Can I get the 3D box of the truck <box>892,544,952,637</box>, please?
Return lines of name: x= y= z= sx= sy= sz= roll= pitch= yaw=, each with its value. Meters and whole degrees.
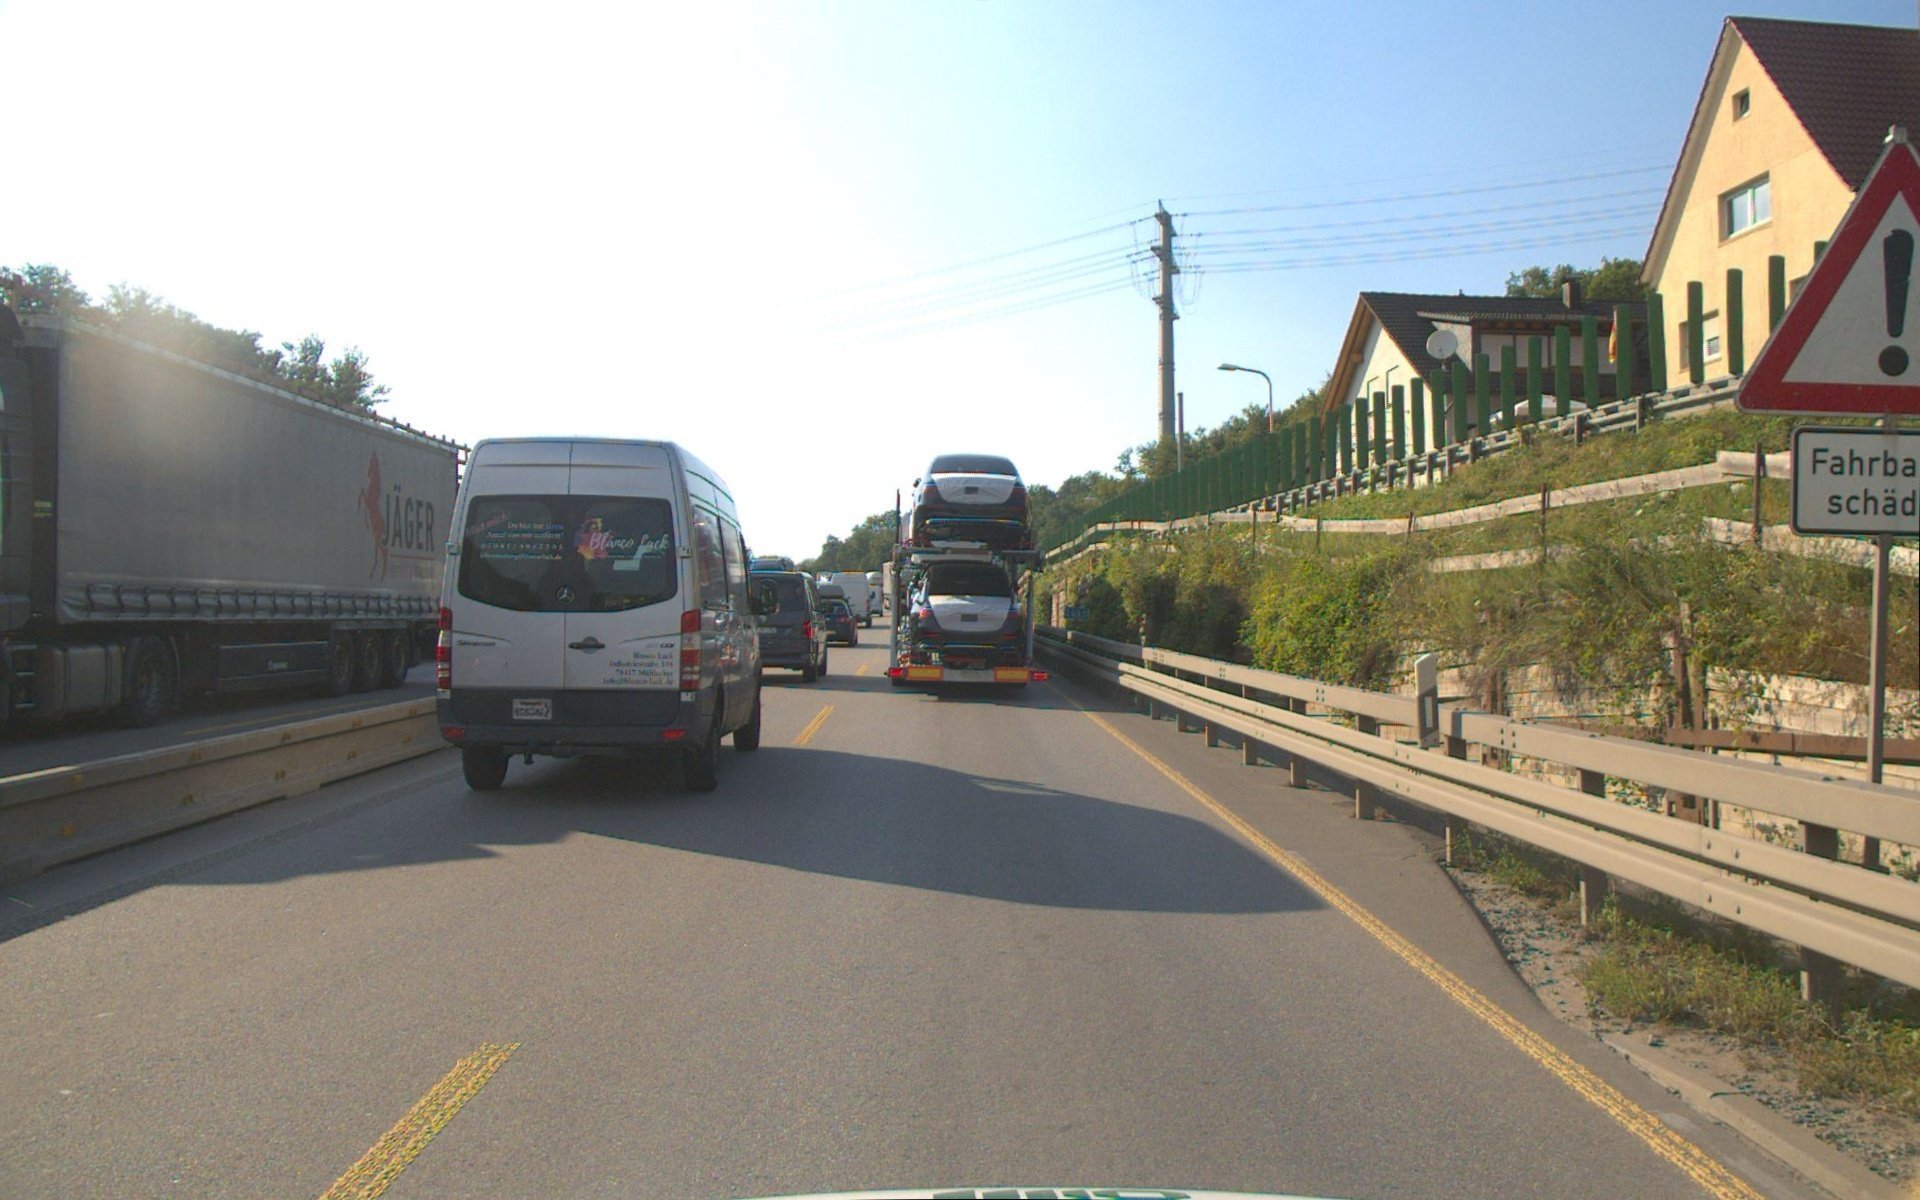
truck: x=-2.067 y=-0.473 z=87.004 sx=2.850 sy=4.687 sz=7.280 roll=0 pitch=0 yaw=-4

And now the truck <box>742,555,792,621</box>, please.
truck: x=-13.135 y=-0.796 z=113.342 sx=2.572 sy=4.184 sz=9.622 roll=-2 pitch=0 yaw=-3

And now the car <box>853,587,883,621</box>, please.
car: x=-6.062 y=0.264 z=109.613 sx=1.847 sy=2.137 sz=3.764 roll=1 pitch=0 yaw=-2

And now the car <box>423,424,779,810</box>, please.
car: x=-2.816 y=0.112 z=14.352 sx=1.953 sy=2.694 sz=5.529 roll=0 pitch=0 yaw=-1

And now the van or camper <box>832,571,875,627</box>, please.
van or camper: x=-5.153 y=-0.011 z=80.408 sx=1.929 sy=2.637 sz=5.039 roll=1 pitch=-1 yaw=-2

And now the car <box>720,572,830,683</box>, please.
car: x=-3.429 y=0.534 z=31.264 sx=1.772 sy=1.937 sz=3.997 roll=1 pitch=-1 yaw=-3

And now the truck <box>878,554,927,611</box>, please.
truck: x=-4.869 y=-1.482 z=143.285 sx=3.982 sy=4.761 sz=10.590 roll=0 pitch=0 yaw=-1

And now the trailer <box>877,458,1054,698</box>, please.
trailer: x=-0.005 y=-0.241 z=32.689 sx=2.628 sy=3.597 sz=15.284 roll=1 pitch=-1 yaw=-1

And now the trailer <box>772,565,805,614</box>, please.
trailer: x=-15.164 y=-0.921 z=147.035 sx=2.657 sy=4.164 sz=12.557 roll=0 pitch=1 yaw=-5

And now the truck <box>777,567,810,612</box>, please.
truck: x=-16.581 y=-0.997 z=165.774 sx=2.924 sy=4.226 sz=15.840 roll=1 pitch=0 yaw=-4

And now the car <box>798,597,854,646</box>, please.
car: x=-4.431 y=0.674 z=55.099 sx=1.691 sy=1.549 sz=3.971 roll=1 pitch=0 yaw=-2

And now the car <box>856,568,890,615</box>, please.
car: x=-10.056 y=-0.951 z=190.517 sx=3.378 sy=5.123 sz=9.641 roll=1 pitch=0 yaw=-6

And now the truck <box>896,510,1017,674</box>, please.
truck: x=-0.113 y=-0.125 z=40.255 sx=2.628 sy=3.597 sz=7.192 roll=1 pitch=-1 yaw=-1

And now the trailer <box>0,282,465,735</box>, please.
trailer: x=-10.132 y=-0.792 z=22.636 sx=2.854 sy=4.314 sz=13.763 roll=1 pitch=-1 yaw=-2

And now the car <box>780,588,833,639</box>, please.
car: x=-7.882 y=0.711 z=85.321 sx=2.422 sy=2.578 sz=3.998 roll=0 pitch=-1 yaw=-2

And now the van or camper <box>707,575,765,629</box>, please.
van or camper: x=-11.812 y=0.089 z=87.619 sx=2.265 sy=2.709 sz=6.453 roll=-2 pitch=0 yaw=-1

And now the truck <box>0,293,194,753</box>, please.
truck: x=-9.949 y=-0.690 z=15.607 sx=2.802 sy=4.078 sz=5.656 roll=1 pitch=-1 yaw=-1
